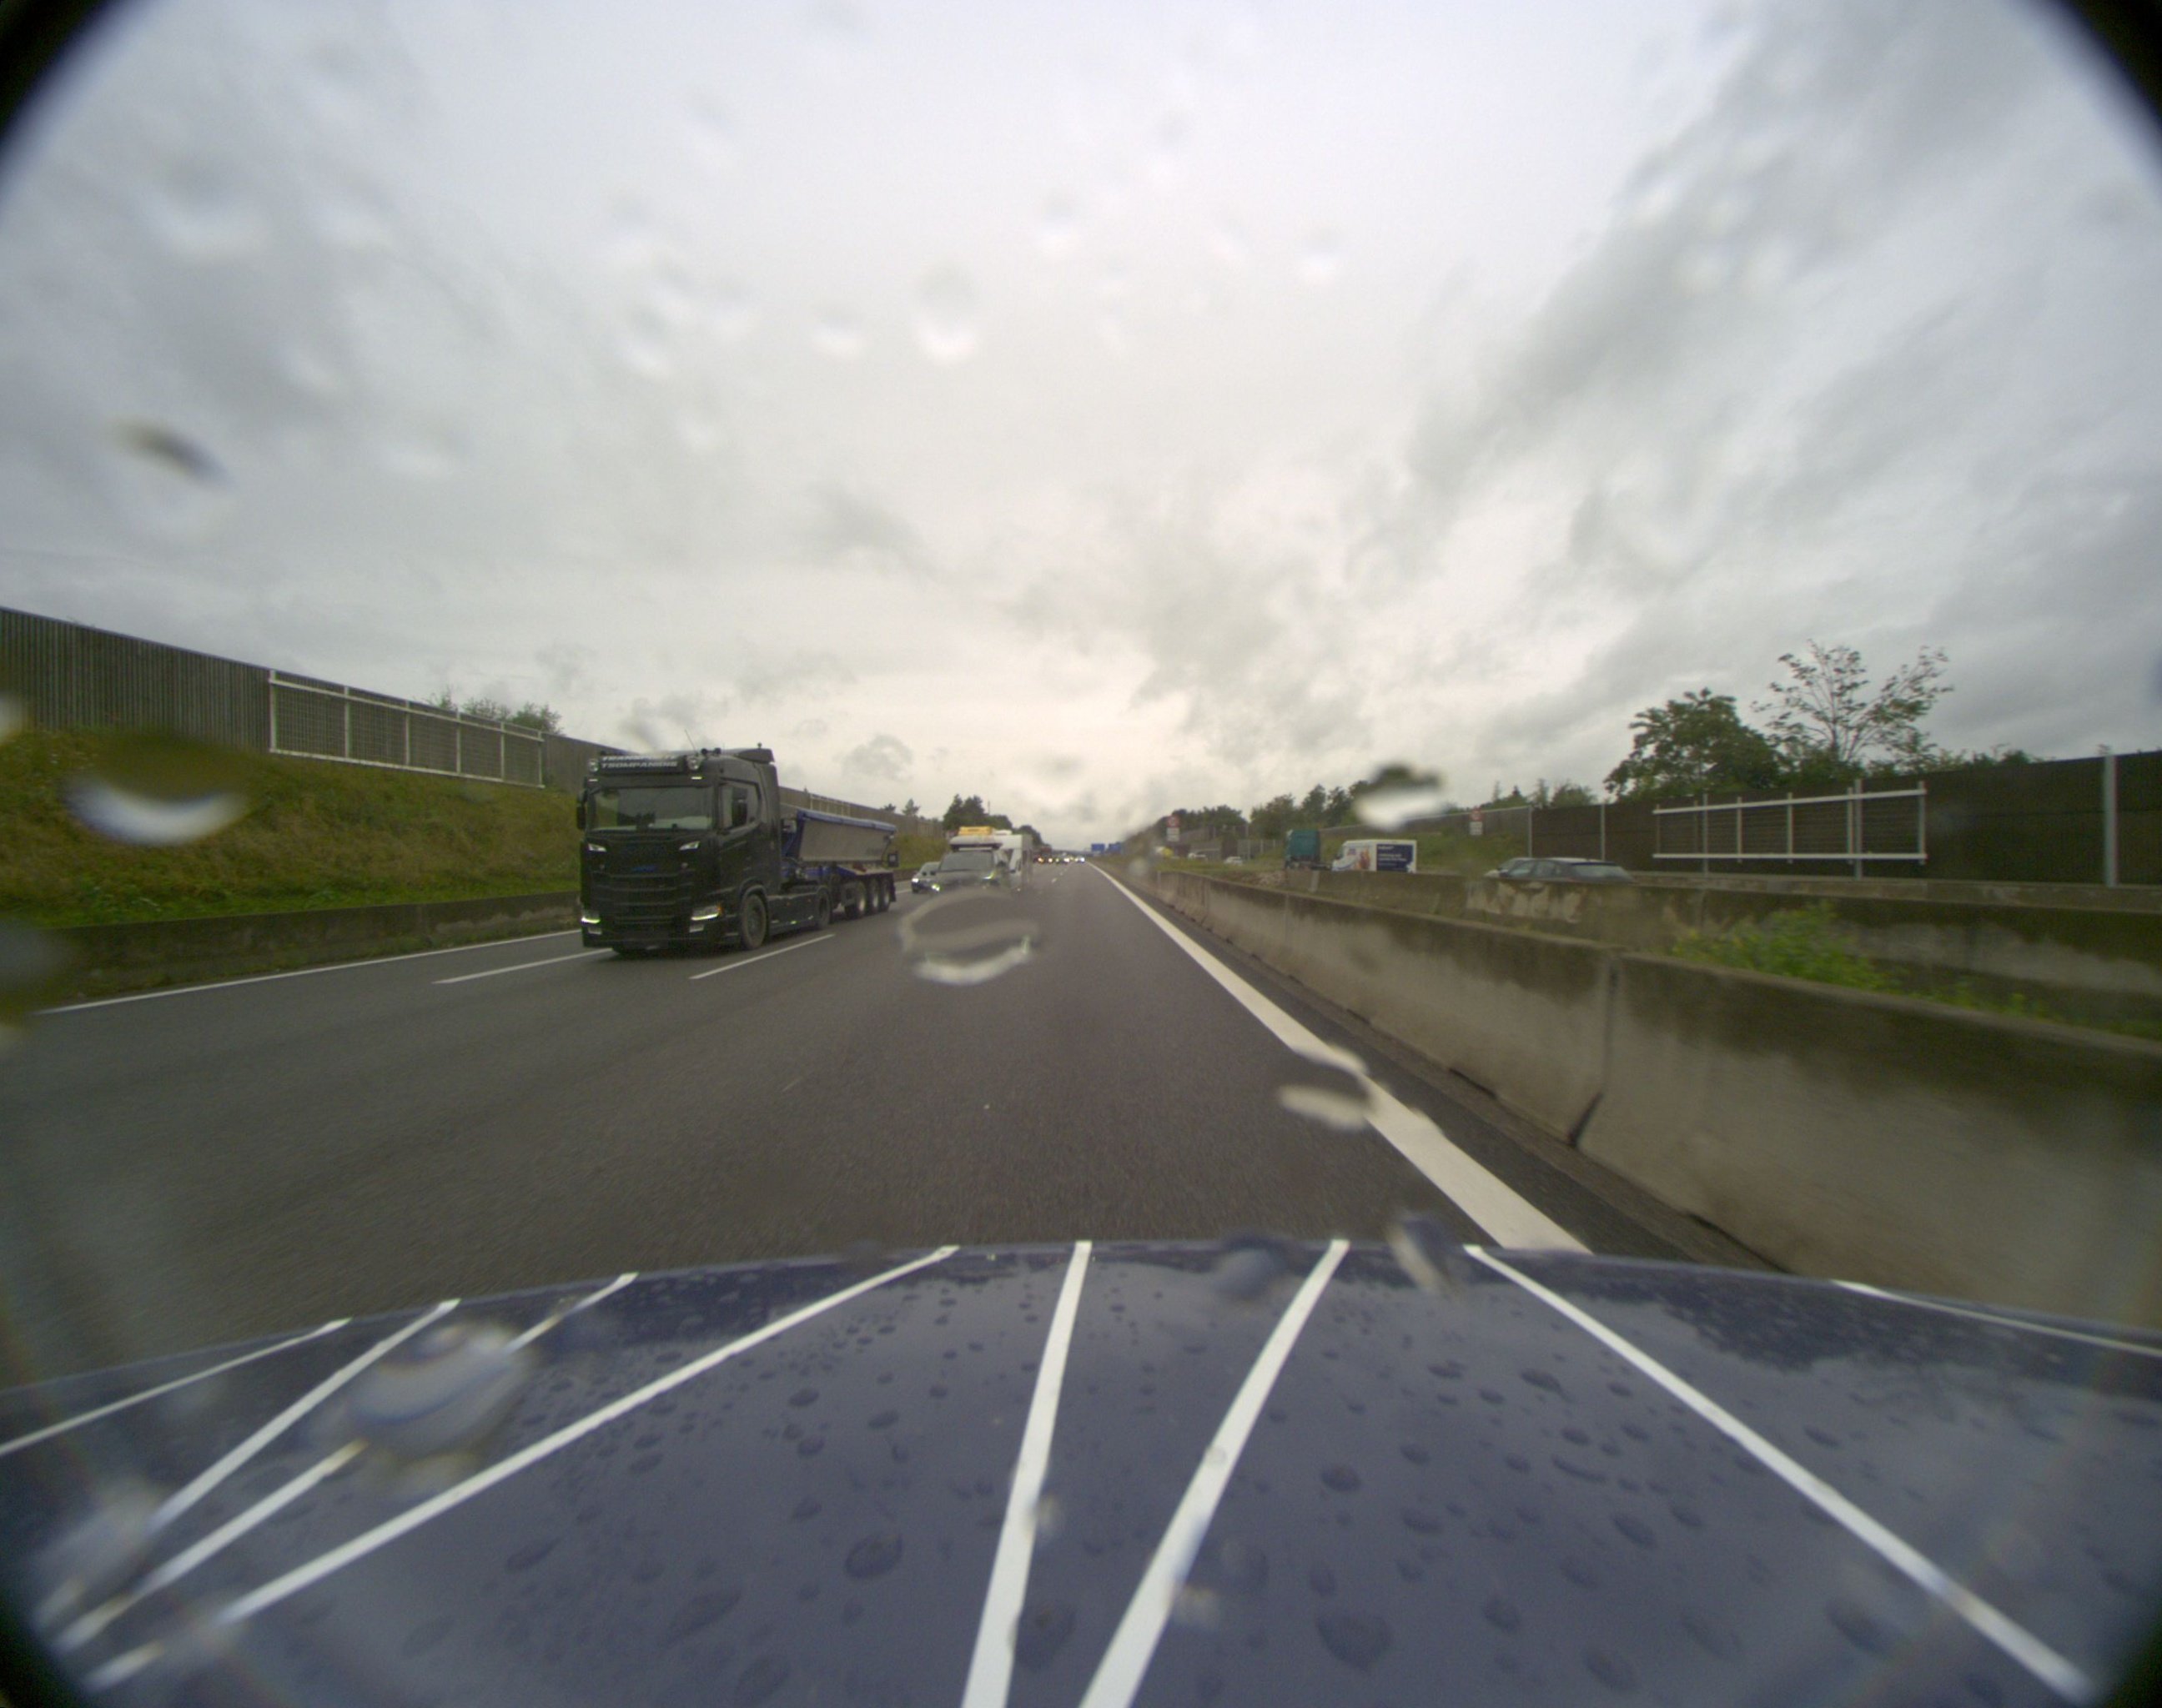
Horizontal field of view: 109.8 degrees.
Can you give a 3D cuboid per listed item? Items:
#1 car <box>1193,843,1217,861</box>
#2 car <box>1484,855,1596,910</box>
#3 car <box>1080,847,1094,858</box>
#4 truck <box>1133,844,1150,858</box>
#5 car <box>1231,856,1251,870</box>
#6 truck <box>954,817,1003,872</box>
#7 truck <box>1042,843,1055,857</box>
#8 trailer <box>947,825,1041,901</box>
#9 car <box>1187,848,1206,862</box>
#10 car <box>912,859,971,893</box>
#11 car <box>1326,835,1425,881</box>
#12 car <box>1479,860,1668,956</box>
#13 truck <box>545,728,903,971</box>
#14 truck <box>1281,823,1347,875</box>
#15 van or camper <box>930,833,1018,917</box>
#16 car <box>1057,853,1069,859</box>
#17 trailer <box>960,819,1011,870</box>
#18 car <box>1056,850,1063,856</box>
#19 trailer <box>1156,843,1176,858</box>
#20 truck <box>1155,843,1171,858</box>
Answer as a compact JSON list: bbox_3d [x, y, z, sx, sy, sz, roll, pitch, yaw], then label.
[{"bbox_3d":[14.691,-0.246,90.362,1.998,2.002,5.618,-2,0,1],"label":"car"},{"bbox_3d":[18.173,1.080,30.322,1.999,1.969,3.999,-2,0,0],"label":"car"},{"bbox_3d":[1.282,-0.398,167.629,2.680,2.340,5.807,-1,0,-2],"label":"car"},{"bbox_3d":[13.345,-0.657,168.058,2.963,3.049,8.726,-2,1,0],"label":"truck"},{"bbox_3d":[18.536,1.017,88.173,1.656,1.482,3.295,-2,1,1],"label":"car"},{"bbox_3d":[-8.078,-0.732,60.986,2.693,3.935,9.324,-2,1,-1],"label":"truck"},{"bbox_3d":[-7.436,-0.959,174.945,2.617,3.218,4.632,-1,0,0],"label":"truck"},{"bbox_3d":[-3.212,0.306,30.145,2.728,2.627,7.511,-1,0,1],"label":"trailer"},{"bbox_3d":[17.248,0.140,113.412,1.912,2.002,5.953,-2,0,0],"label":"car"},{"bbox_3d":[-6.873,1.037,37.955,1.945,1.419,5.288,-3,0,0],"label":"car"},{"bbox_3d":[14.462,0.156,37.905,2.219,2.002,7.058,-2,0,1],"label":"car"},{"bbox_3d":[11.294,1.140,17.798,1.873,1.911,4.000,-2,0,2],"label":"car"},{"bbox_3d":[-7.299,-0.123,18.726,2.820,3.927,12.711,0,1,0],"label":"truck"},{"bbox_3d":[18.609,-0.444,61.177,2.869,3.816,7.521,-2,1,0],"label":"truck"},{"bbox_3d":[-3.167,0.586,23.620,1.895,2.256,5.679,-2,0,0],"label":"van or camper"},{"bbox_3d":[-3.312,0.401,138.291,2.061,1.020,3.437,-2,1,0],"label":"car"},{"bbox_3d":[-8.273,-0.814,68.123,2.658,3.930,16.682,-2,1,-1],"label":"trailer"},{"bbox_3d":[-7.017,-0.405,245.407,1.999,1.747,3.999,-1,0,0],"label":"car"},{"bbox_3d":[17.438,-0.734,156.014,2.618,2.972,10.795,-2,0,-1],"label":"trailer"},{"bbox_3d":[17.347,-0.810,161.663,2.628,3.002,5.176,-2,1,-2],"label":"truck"}]
